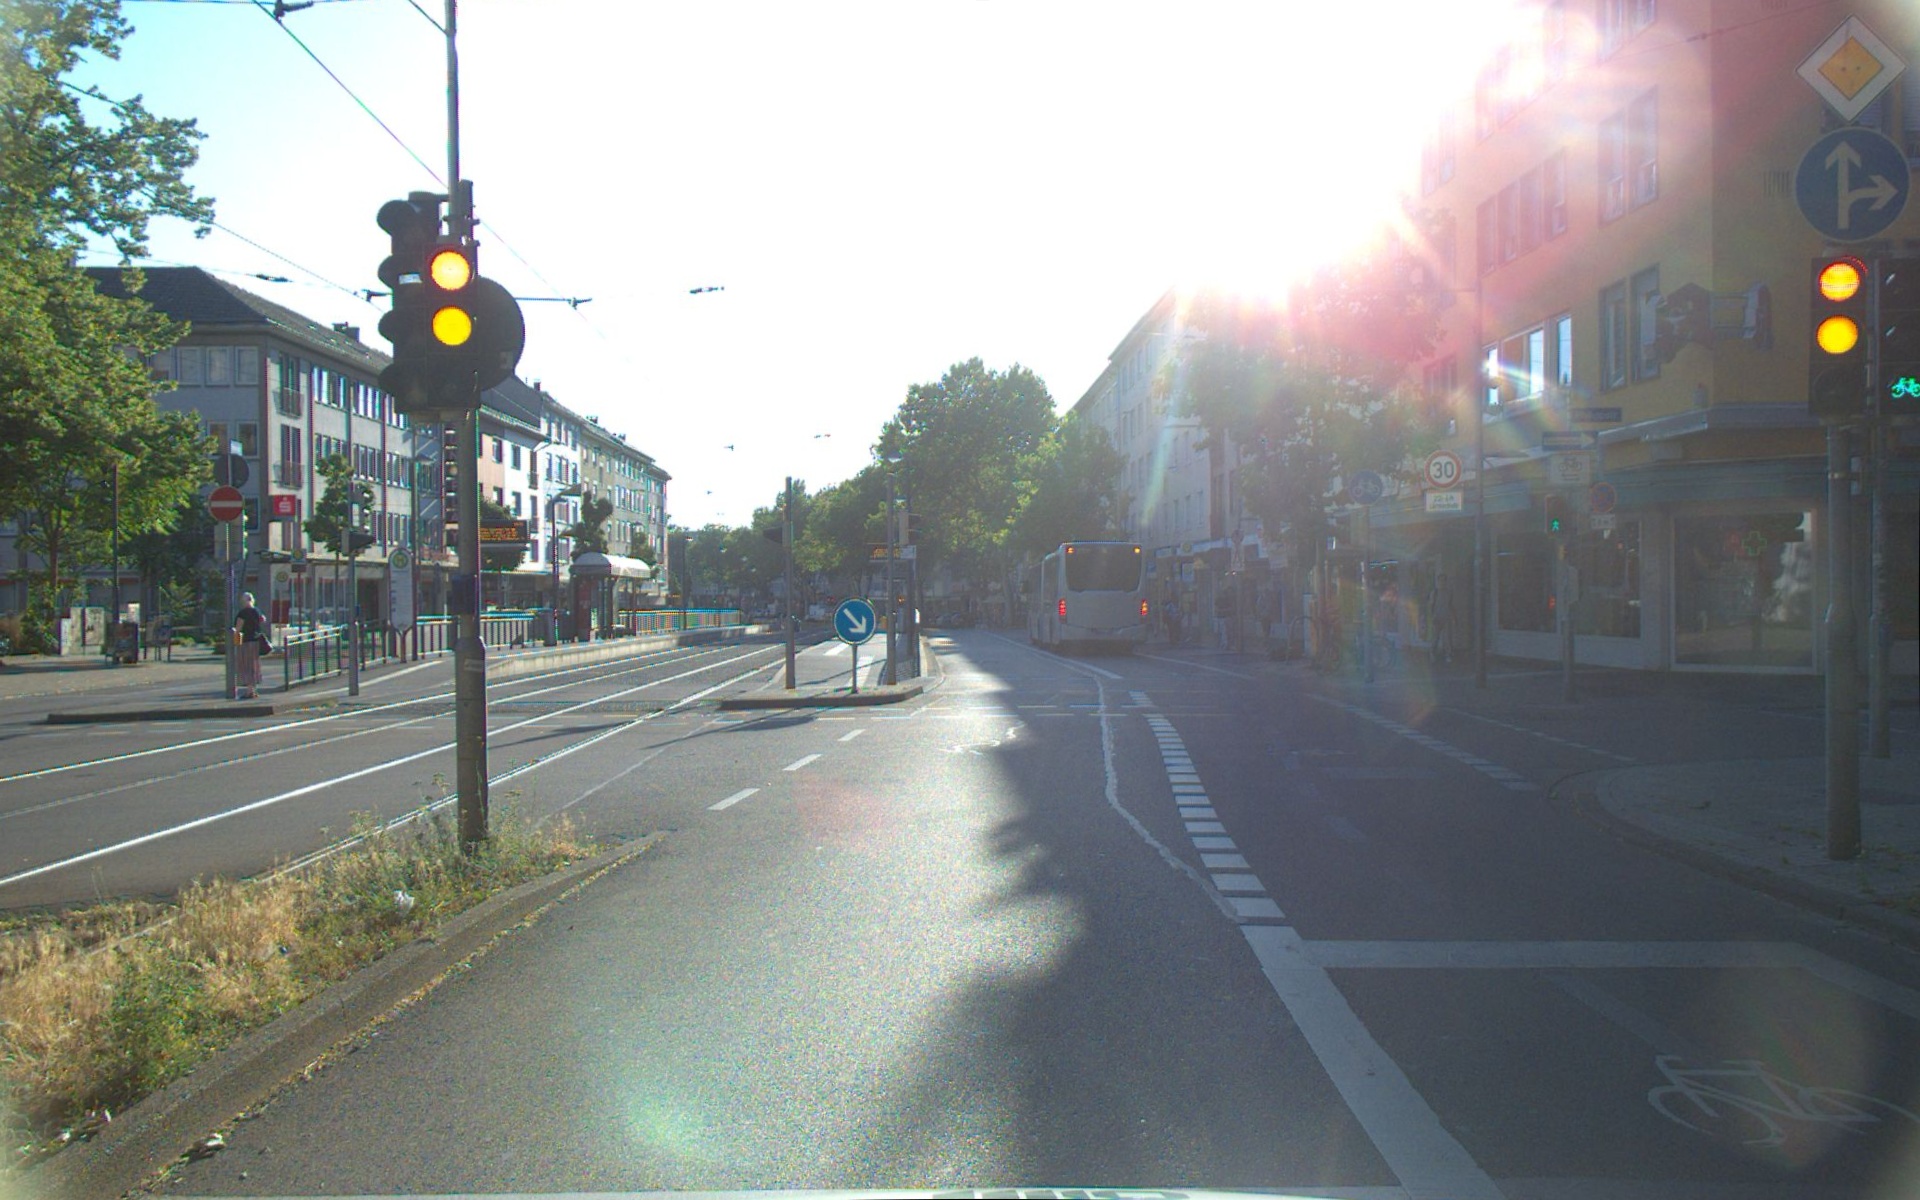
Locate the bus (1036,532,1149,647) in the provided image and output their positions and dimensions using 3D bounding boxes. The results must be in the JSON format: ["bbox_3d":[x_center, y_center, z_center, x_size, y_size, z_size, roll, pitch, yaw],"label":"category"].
[{"bbox_3d":[3.865,-0.275,50.279,2.641,3.173,9.380,0,0,0],"label":"bus"}]

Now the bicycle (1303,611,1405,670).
[{"bbox_3d":[7.456,0.763,31.298,1.763,1.026,0.540,-3,0,-5],"label":"bicycle"}]

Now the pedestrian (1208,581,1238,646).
[{"bbox_3d":[7.613,0.389,47.873,0.709,1.838,0.766,-1,-1,-2],"label":"pedestrian"}]

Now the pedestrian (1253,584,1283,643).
[{"bbox_3d":[9.254,0.401,49.665,0.709,1.753,0.766,-1,-1,-2],"label":"pedestrian"}]

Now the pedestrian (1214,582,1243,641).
[{"bbox_3d":[8.364,0.371,51.523,0.709,1.810,0.766,-1,-1,-2],"label":"pedestrian"}]

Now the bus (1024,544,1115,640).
[{"bbox_3d":[3.824,-0.253,59.463,2.641,3.173,9.069,0,0,0],"label":"bus"}]

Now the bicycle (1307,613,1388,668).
[{"bbox_3d":[7.487,0.778,31.977,1.453,1.026,0.454,-1,0,-5],"label":"bicycle"}]

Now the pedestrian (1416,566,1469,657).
[{"bbox_3d":[9.829,0.238,33.693,0.728,1.811,0.894,-2,-1,-2],"label":"pedestrian"}]

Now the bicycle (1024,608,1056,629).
[{"bbox_3d":[4.856,1.120,100.999,1.848,1.096,0.754,-5,0,1],"label":"bicycle"}]

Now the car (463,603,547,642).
[{"bbox_3d":[-21.271,1.031,77.412,1.734,1.709,3.501,-1,1,33],"label":"car"}]

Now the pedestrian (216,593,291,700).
[{"bbox_3d":[-12.038,0.785,28.194,0.900,1.791,0.832,-1,-1,0],"label":"pedestrian"}]

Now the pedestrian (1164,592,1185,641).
[{"bbox_3d":[7.015,0.536,54.082,0.597,1.606,0.851,-1,0,3],"label":"pedestrian"}]
